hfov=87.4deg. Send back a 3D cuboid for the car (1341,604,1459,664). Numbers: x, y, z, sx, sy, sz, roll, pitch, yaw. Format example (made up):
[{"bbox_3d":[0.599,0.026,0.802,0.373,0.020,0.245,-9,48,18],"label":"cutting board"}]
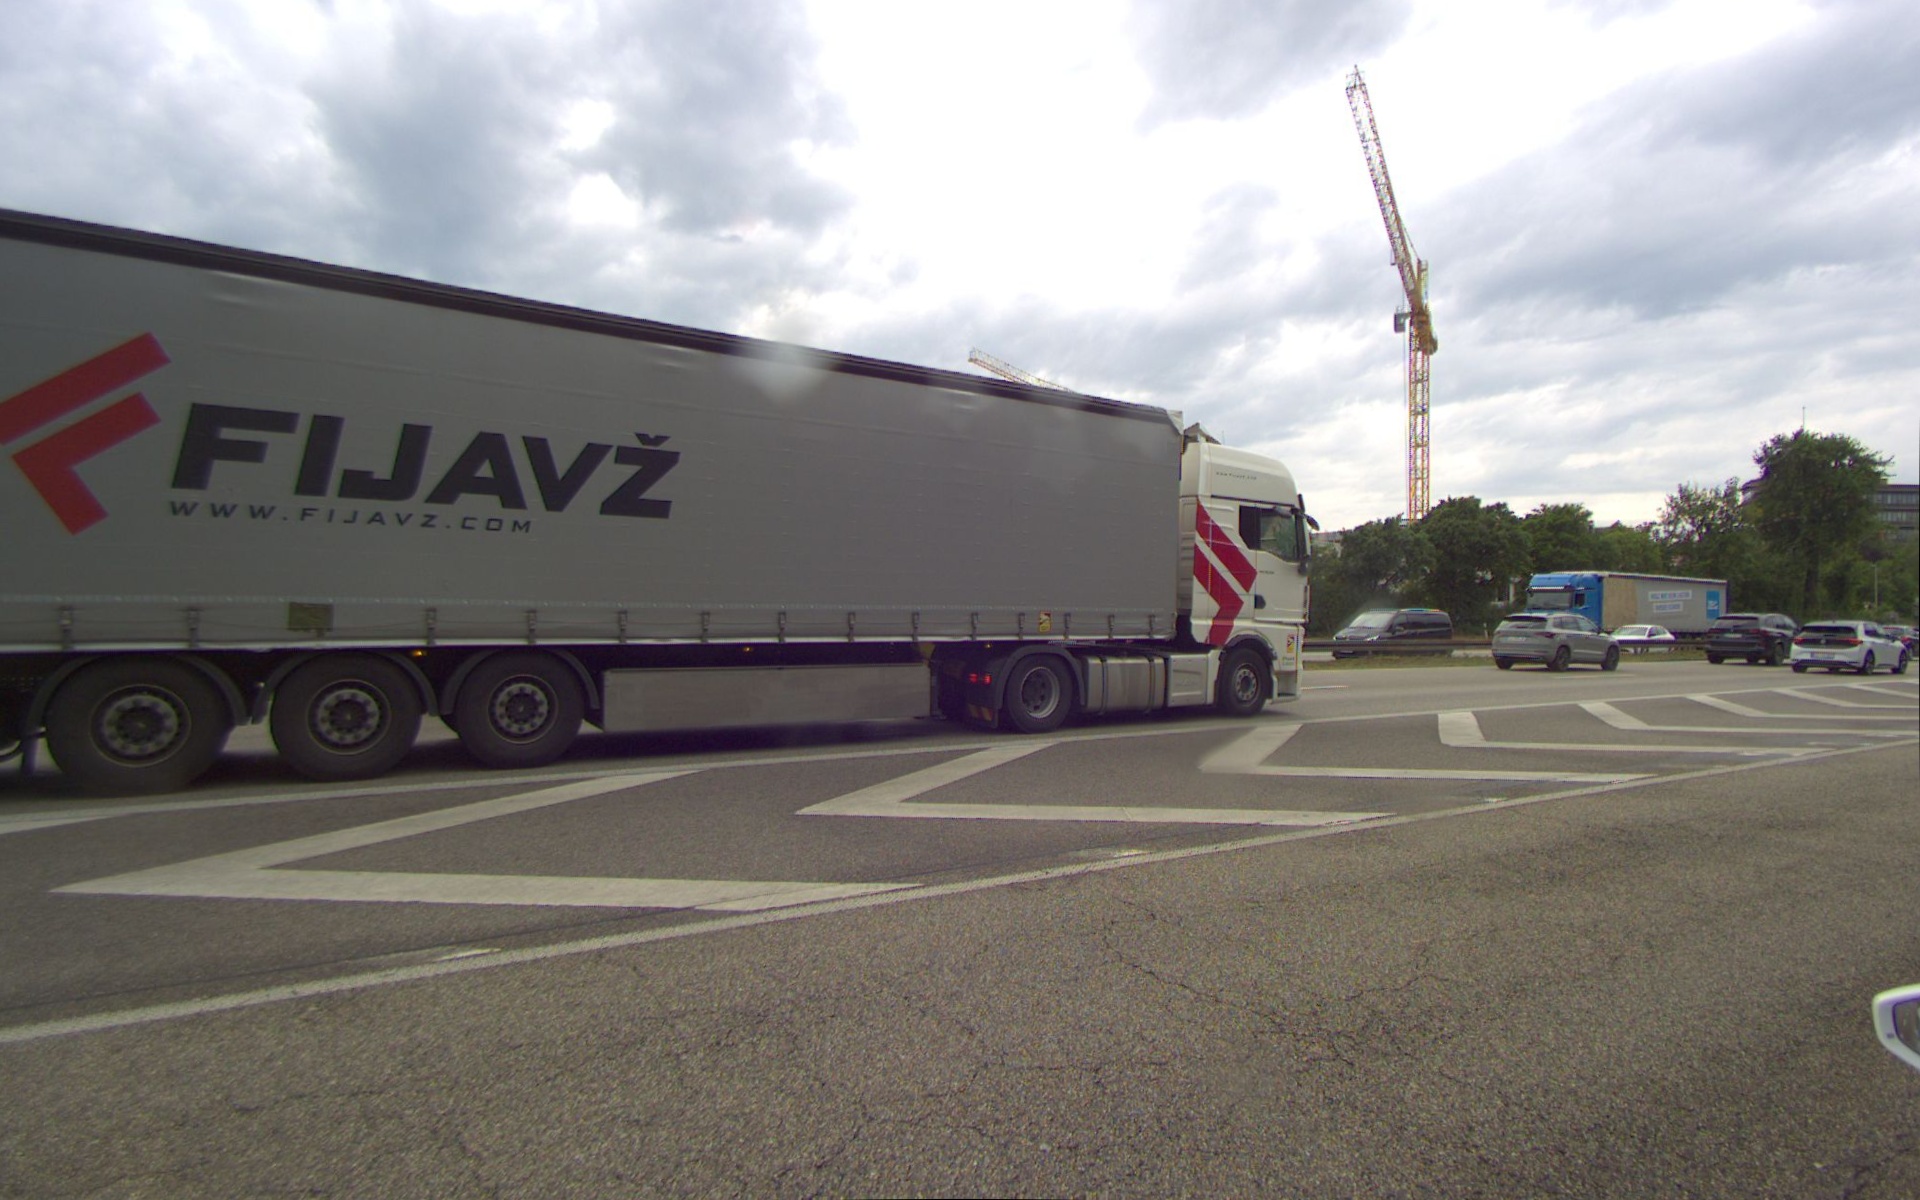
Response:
[{"bbox_3d":[15.881,1.204,36.249,3.953,2.040,1.984,1,-1,-30],"label":"car"}]

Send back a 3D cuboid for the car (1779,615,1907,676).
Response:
[{"bbox_3d":[26.283,1.339,29.873,4.212,1.625,1.789,2,0,-33],"label":"car"}]

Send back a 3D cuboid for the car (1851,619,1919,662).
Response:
[{"bbox_3d":[40.173,1.732,43.223,3.957,1.739,1.707,2,0,-33],"label":"car"}]

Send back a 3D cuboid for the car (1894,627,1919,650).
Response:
[{"bbox_3d":[73.043,2.912,76.367,3.954,1.629,1.984,1,-1,-31],"label":"car"}]

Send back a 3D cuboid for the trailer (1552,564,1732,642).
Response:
[{"bbox_3d":[37.171,0.275,54.474,13.104,3.752,2.673,2,0,-31],"label":"trailer"}]

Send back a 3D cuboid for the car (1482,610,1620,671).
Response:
[{"bbox_3d":[16.707,1.106,28.352,3.882,1.623,1.720,1,0,-31],"label":"car"}]

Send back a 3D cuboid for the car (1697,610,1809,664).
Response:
[{"bbox_3d":[27.563,1.284,34.873,3.957,1.739,1.863,2,0,-33],"label":"car"}]

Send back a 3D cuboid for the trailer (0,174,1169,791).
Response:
[{"bbox_3d":[-3.701,-0.674,10.416,12.960,4.090,3.279,2,0,-34],"label":"trailer"}]

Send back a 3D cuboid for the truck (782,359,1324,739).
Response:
[{"bbox_3d":[1.467,-0.461,13.895,7.001,3.999,3.178,2,0,-34],"label":"truck"}]

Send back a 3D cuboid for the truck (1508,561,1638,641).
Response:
[{"bbox_3d":[31.013,0.115,50.753,6.560,3.759,2.758,2,0,-30],"label":"truck"}]

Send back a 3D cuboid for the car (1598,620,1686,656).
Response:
[{"bbox_3d":[31.439,1.726,46.304,3.880,1.595,1.885,1,-1,-30],"label":"car"}]
